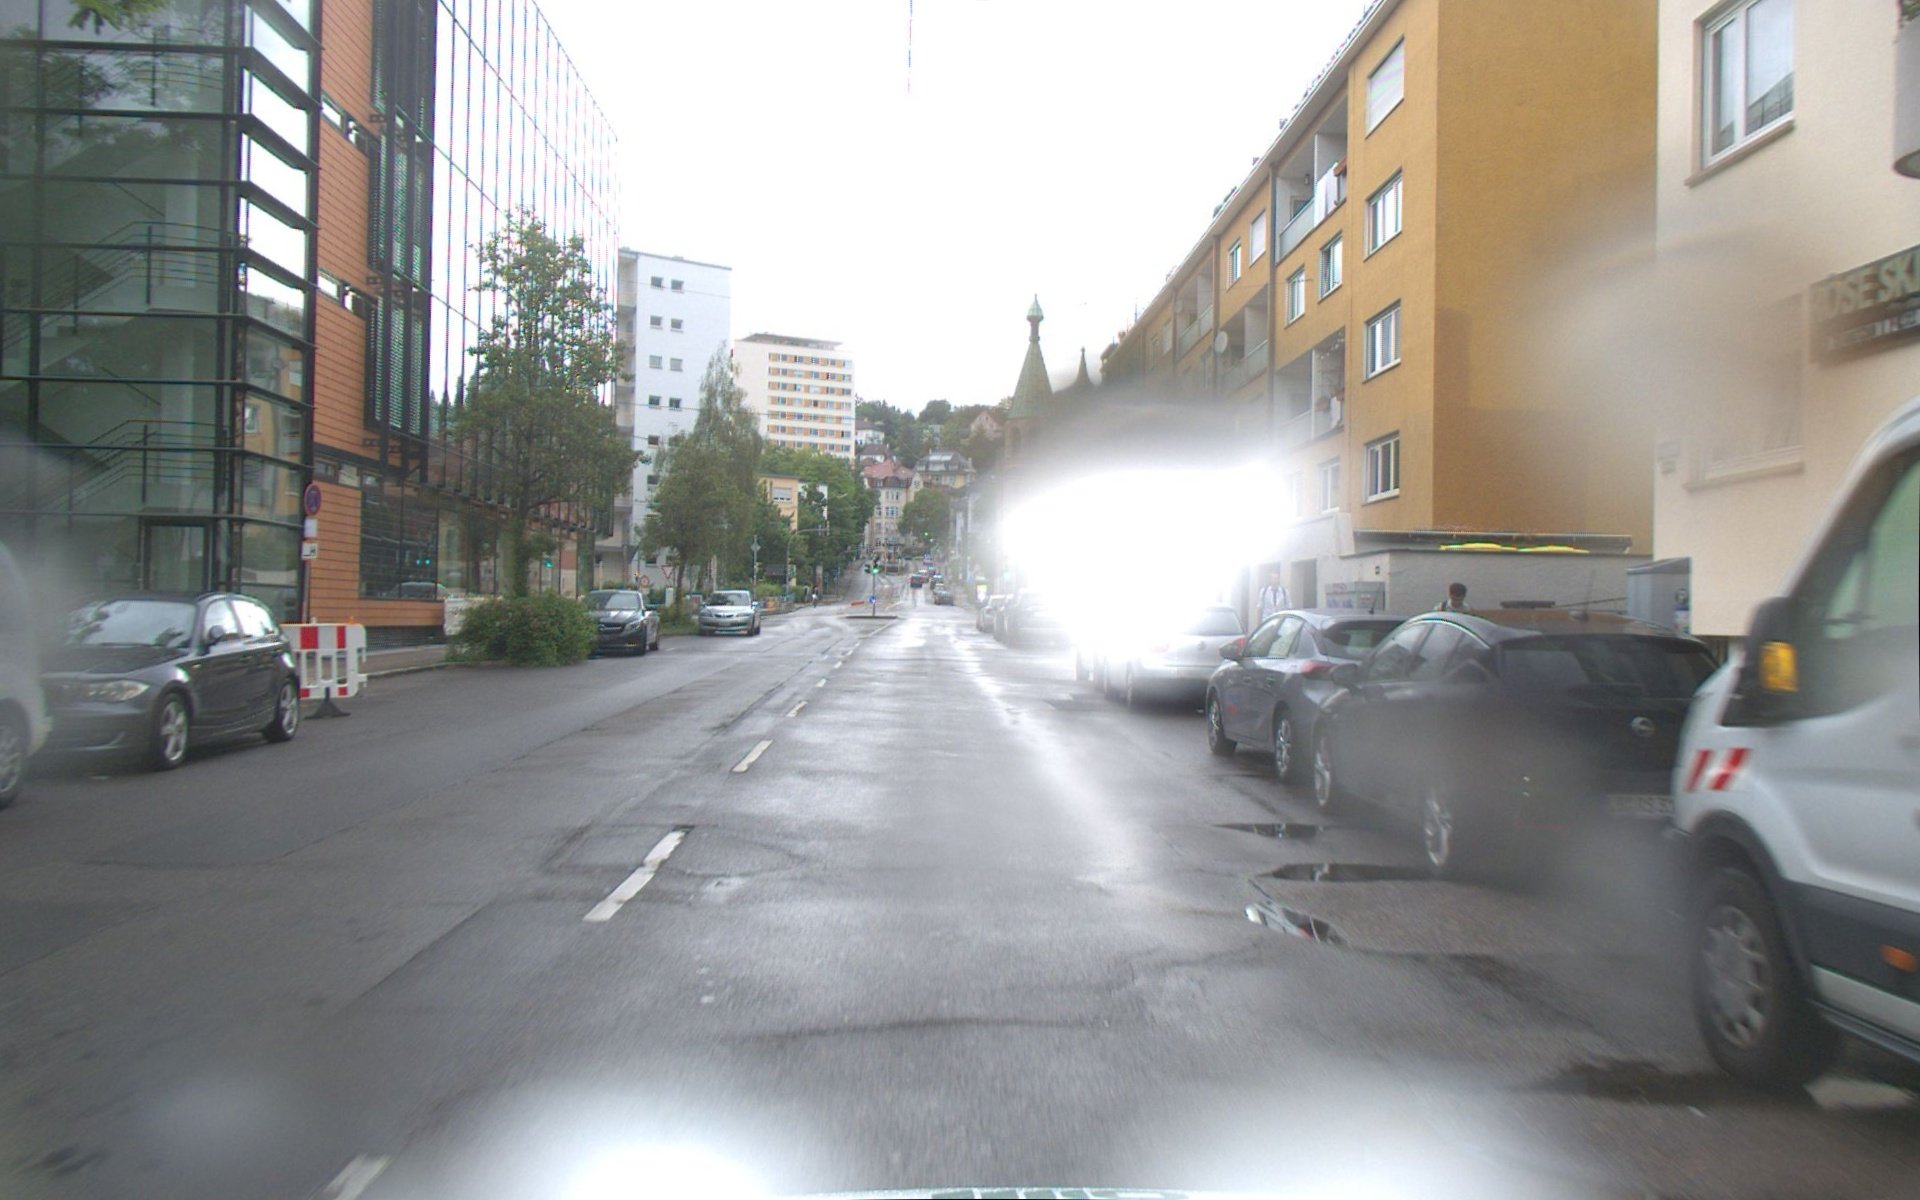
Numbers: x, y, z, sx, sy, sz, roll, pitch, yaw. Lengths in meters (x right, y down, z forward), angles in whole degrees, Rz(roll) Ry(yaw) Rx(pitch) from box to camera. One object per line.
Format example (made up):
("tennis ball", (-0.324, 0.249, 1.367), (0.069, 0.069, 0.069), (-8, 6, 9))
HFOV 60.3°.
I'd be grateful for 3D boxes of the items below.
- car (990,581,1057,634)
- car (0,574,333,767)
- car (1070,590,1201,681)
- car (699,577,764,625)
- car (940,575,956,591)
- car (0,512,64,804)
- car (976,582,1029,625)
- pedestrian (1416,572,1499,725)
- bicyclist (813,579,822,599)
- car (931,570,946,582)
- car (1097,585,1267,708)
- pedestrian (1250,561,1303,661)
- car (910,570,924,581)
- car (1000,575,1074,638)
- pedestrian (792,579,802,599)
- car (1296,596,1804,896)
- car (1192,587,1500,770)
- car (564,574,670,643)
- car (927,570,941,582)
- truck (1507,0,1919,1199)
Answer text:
("car", (2.012, 0.200, 53.276), (1.781, 1.548, 4.074), (3, 1, -2))
("car", (-6.933, 0.509, 14.207), (1.689, 1.400, 4.340), (0, 0, -4))
("car", (2.945, 0.564, 28.538), (1.630, 1.424, 3.919), (1, 0, -3))
("car", (-7.401, 0.040, 53.828), (1.675, 1.476, 4.292), (1, 0, -3))
("car", (-1.331, -1.910, 183.212), (1.696, 1.682, 4.001), (1, 1, 1))
("car", (-6.806, 0.362, 8.943), (1.689, 1.831, 4.342), (0, 0, -2))
("car", (1.670, 0.105, 65.934), (1.781, 1.548, 4.074), (3, 1, -2))
("pedestrian", (5.511, 0.526, 18.346), (0.650, 1.631, 0.744), (-3, 0, 2))
("bicyclist", (-12.046, -0.955, 139.630), (0.663, 1.690, 0.649), (1, 0, -5))
("car", (-2.850, -3.219, 219.739), (1.854, 1.536, 3.999), (3, 1, -2))
("car", (2.989, 0.585, 23.032), (1.630, 1.528, 3.919), (1, 0, -3))
("pedestrian", (5.733, 0.194, 29.938), (0.750, 1.762, 0.743), (0, 2, 26))
("car", (-6.280, -3.557, 240.557), (1.870, 1.536, 3.999), (3, 1, -2))
("car", (2.211, 0.169, 48.562), (1.781, 1.681, 4.074), (3, 1, -2))
("pedestrian", (-16.084, -1.056, 163.054), (0.870, 1.926, 0.921), (1, 0, -8))
("car", (3.415, 0.739, 10.431), (1.630, 1.445, 4.041), (1, 1, -2))
("car", (3.407, 0.654, 15.334), (1.631, 1.446, 3.917), (1, -1, -5))
("car", (-7.891, 0.185, 38.443), (1.767, 1.476, 4.654), (1, 0, -4))
("car", (-3.775, -3.450, 236.016), (1.870, 1.536, 3.999), (3, 1, -2))
("truck", (3.473, -0.076, 3.024), (2.419, 3.227, 7.034), (1, 0, -1))
